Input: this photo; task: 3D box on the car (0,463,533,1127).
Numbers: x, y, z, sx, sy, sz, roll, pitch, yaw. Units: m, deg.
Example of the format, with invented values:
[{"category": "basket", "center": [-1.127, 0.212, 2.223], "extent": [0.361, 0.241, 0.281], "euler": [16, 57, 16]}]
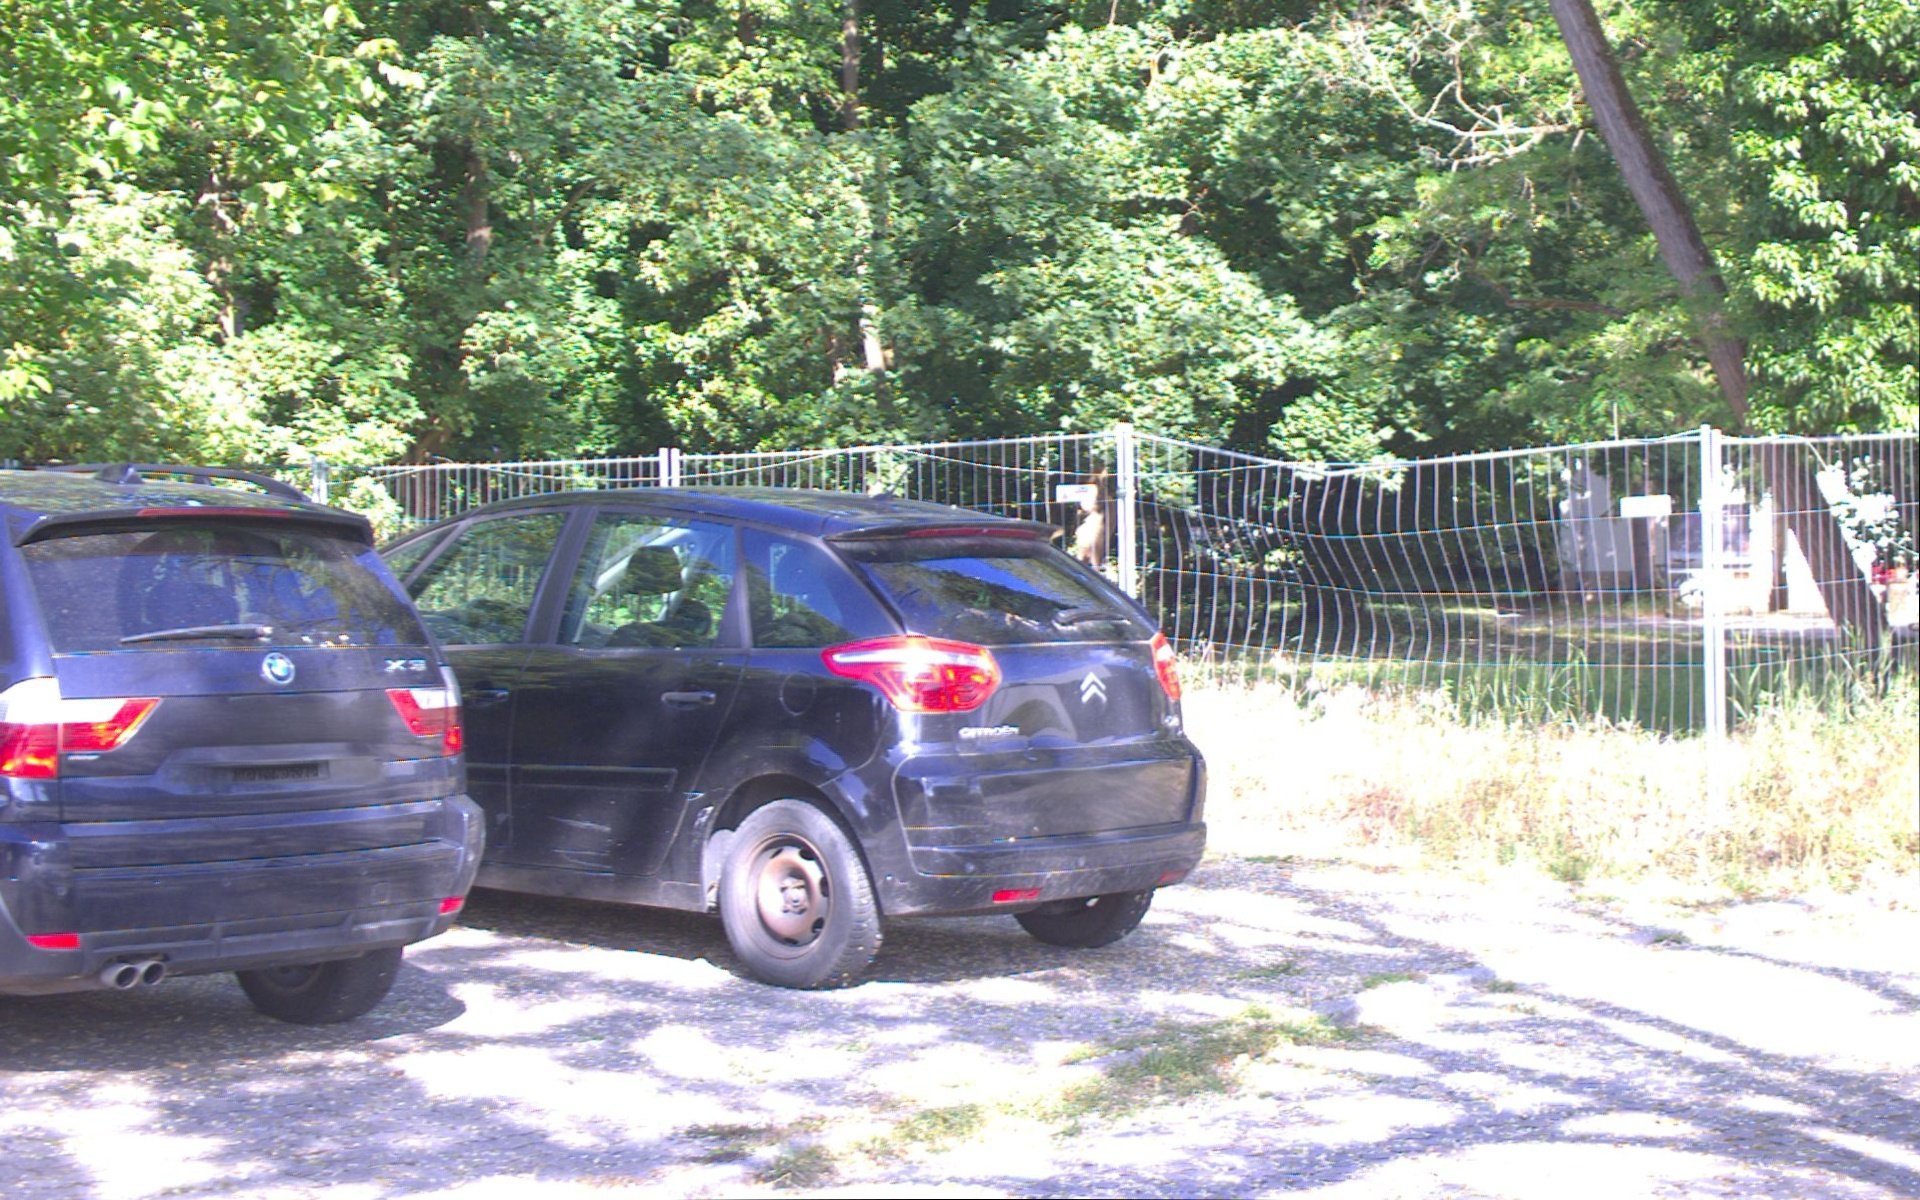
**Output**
[{"category": "car", "center": [-3.386, 0.399, 10.598], "extent": [4.188, 1.650, 1.813], "euler": [3, 3, 43]}]

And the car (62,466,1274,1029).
[{"category": "car", "center": [-1.177, 0.400, 12.731], "extent": [4.295, 1.646, 1.790], "euler": [4, 3, 35]}]
